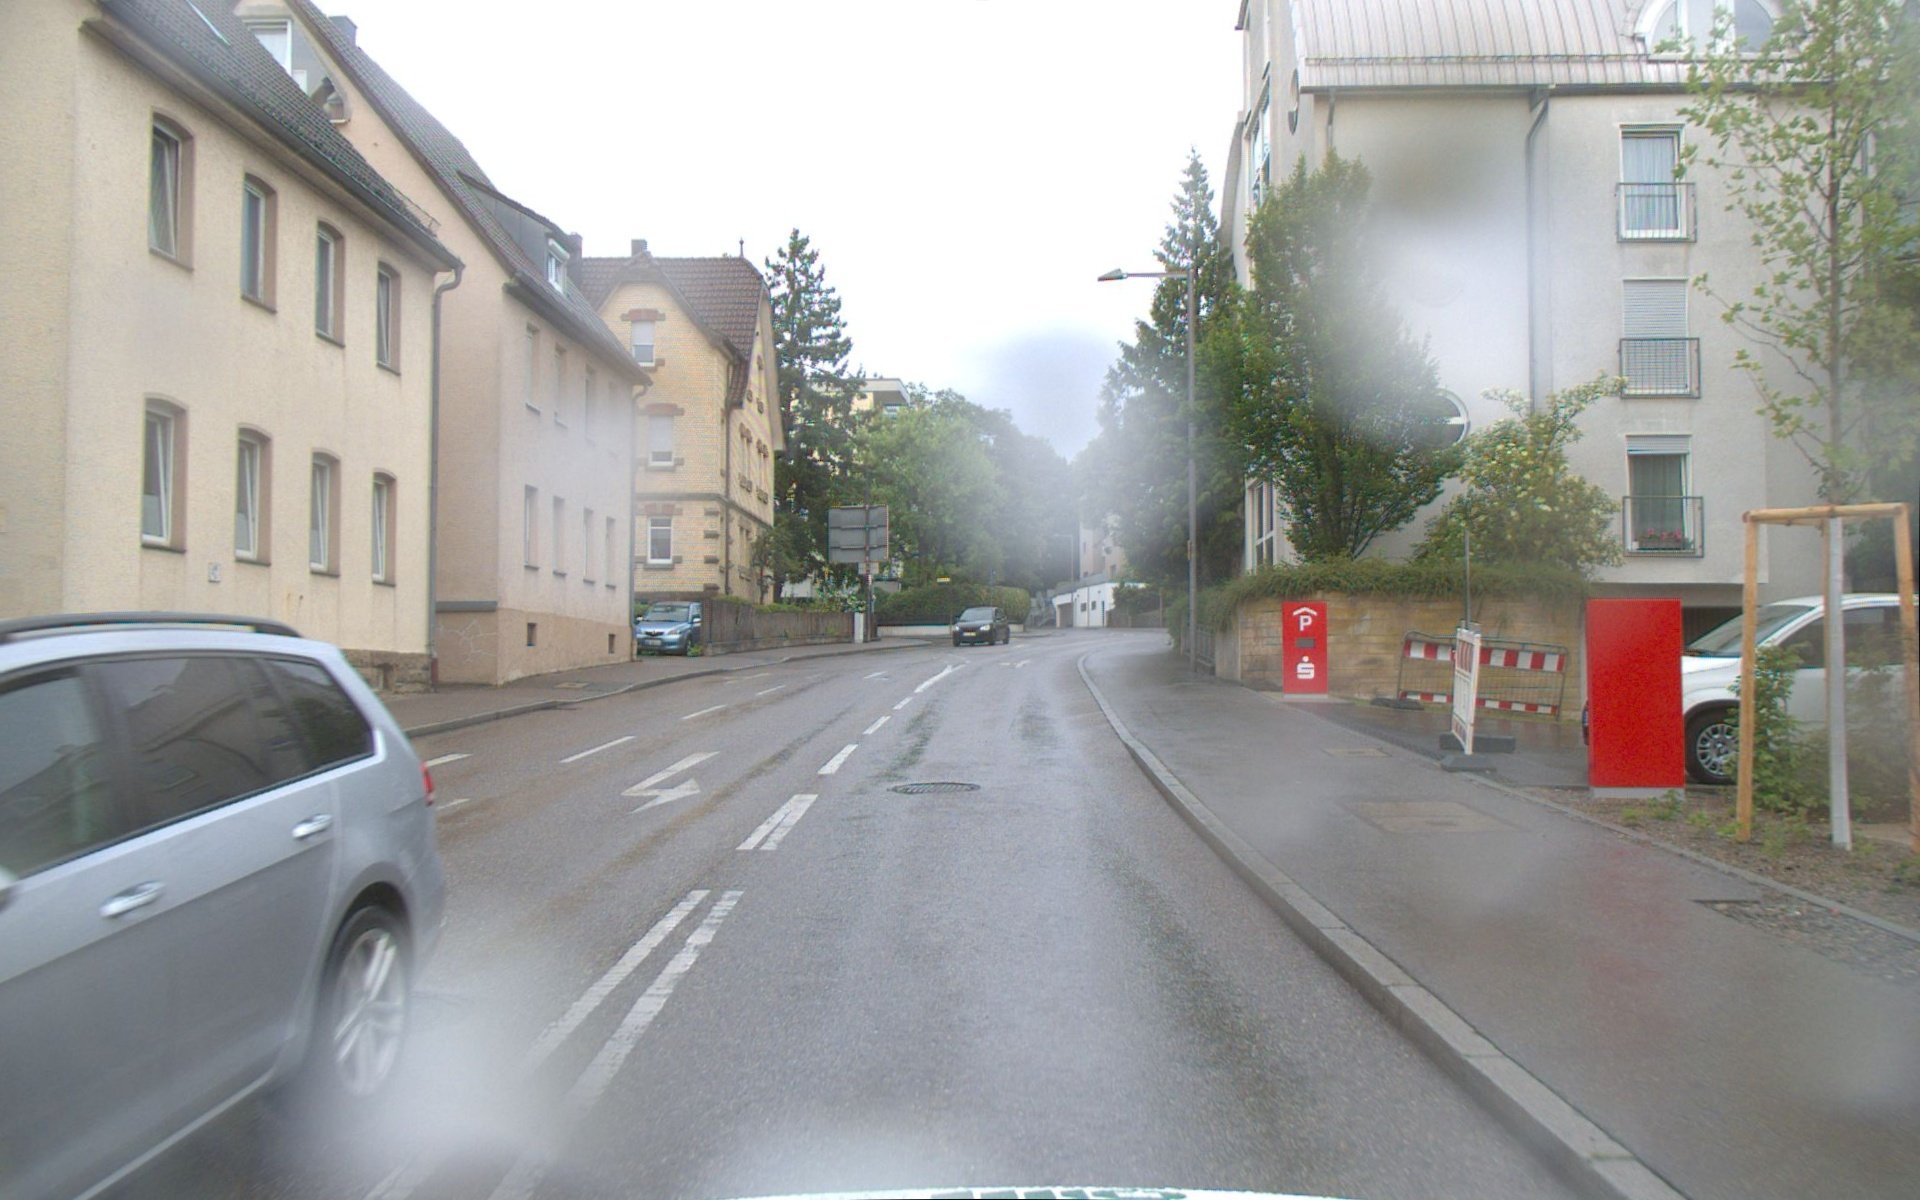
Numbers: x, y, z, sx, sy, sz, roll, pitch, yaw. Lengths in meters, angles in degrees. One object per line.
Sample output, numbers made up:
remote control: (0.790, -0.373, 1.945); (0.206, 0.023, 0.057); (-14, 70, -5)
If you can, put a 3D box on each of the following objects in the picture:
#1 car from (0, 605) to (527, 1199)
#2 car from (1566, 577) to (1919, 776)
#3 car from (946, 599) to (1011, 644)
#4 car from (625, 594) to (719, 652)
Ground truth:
car: (-2.592, 0.764, 3.758); (1.761, 1.464, 4.691); (0, 0, 3)
car: (7.187, 0.600, 13.849); (3.591, 1.529, 1.777); (1, 0, 1)
car: (0.752, 0.821, 63.992); (1.708, 1.599, 3.816); (3, 0, 13)
car: (-8.142, 0.618, 47.131); (1.733, 1.529, 3.885); (1, 0, 4)
